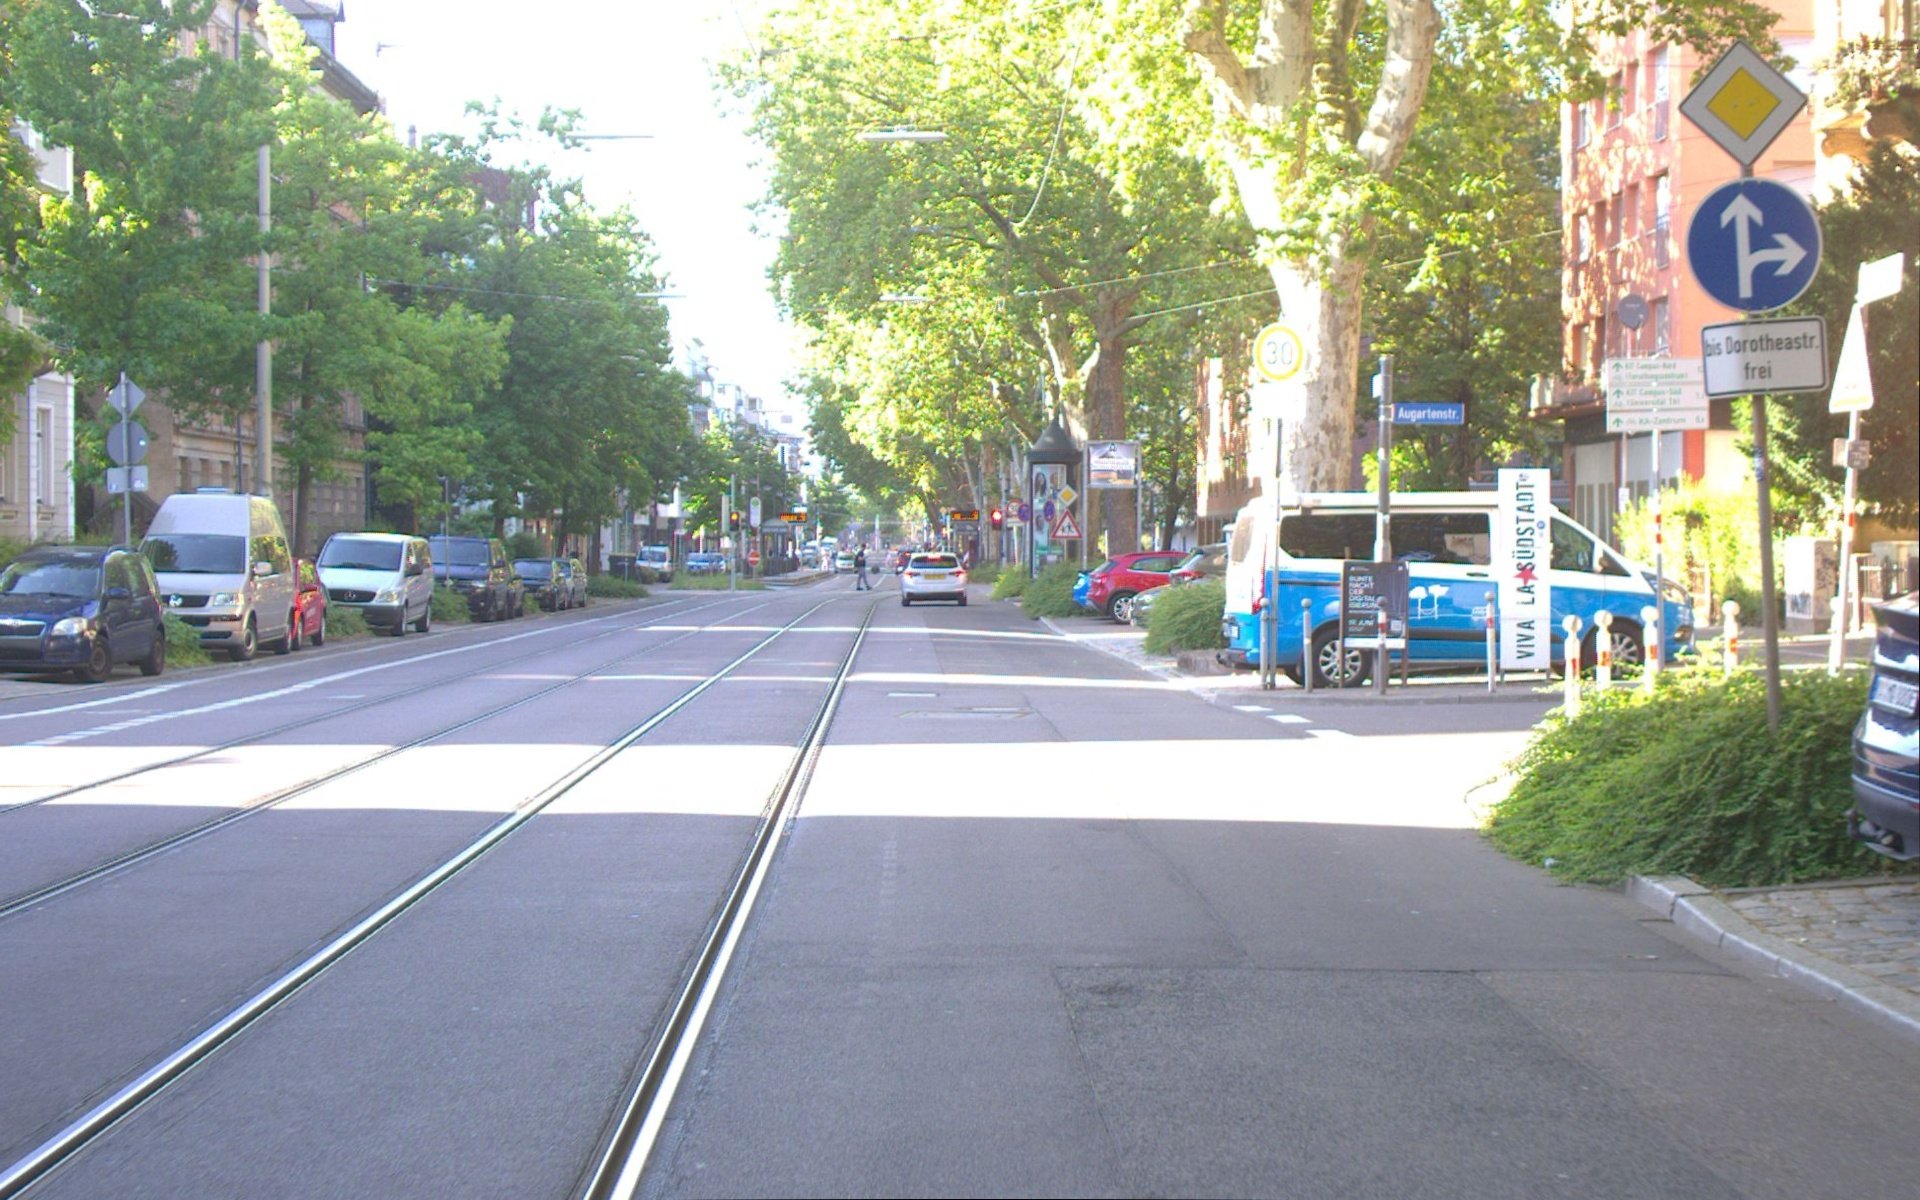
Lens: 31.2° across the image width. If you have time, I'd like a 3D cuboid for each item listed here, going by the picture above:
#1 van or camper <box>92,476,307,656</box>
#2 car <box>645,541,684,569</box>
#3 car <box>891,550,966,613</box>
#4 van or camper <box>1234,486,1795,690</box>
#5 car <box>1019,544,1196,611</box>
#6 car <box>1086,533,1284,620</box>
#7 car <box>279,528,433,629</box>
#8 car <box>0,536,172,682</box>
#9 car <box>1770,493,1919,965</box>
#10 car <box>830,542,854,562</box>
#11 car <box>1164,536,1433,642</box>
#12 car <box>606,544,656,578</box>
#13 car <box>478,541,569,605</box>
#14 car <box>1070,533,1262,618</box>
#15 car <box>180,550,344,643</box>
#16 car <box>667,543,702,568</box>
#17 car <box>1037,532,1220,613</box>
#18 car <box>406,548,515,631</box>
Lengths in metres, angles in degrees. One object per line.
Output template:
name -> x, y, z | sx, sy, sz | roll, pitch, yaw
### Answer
van or camper -> -11.183, -0.527, 50.953 | 2.079, 2.524, 5.318 | 0, 1, -1
car -> -15.167, -2.343, 176.550 | 1.918, 1.414, 3.591 | 0, 1, -3
car -> -0.865, -0.519, 91.530 | 1.918, 1.579, 3.791 | -1, 1, -1
van or camper -> 5.887, -0.164, 36.942 | 5.554, 2.006, 2.245 | -1, 4, -5
car -> 3.395, -0.535, 79.508 | 3.987, 1.515, 2.000 | 0, 1, 0
car -> 4.664, -0.496, 71.665 | 3.987, 1.778, 2.000 | 0, 1, 0
car -> -11.484, -0.436, 65.632 | 2.173, 1.854, 4.659 | 0, 1, -1
car -> -10.910, 0.066, 41.670 | 1.786, 1.581, 4.344 | 3, 1, -2
car -> 5.305, 0.433, 13.117 | 3.923, 1.664, 1.961 | 0, 1, -2
car -> -8.578, -3.490, 250.341 | 1.635, 1.414, 3.591 | 0, 1, -3
car -> 5.240, -0.181, 53.592 | 3.987, 1.603, 2.000 | 0, 1, 0
car -> -13.770, -1.646, 144.170 | 1.918, 1.414, 3.721 | 0, 1, -3
car -> -12.152, -0.768, 95.968 | 1.993, 1.739, 4.659 | 0, 1, -1
car -> 4.403, -0.529, 73.946 | 3.987, 1.778, 2.000 | 0, 1, 0
car -> -11.384, -0.083, 56.324 | 1.876, 1.455, 4.207 | 0, 1, -1
car -> -15.873, -2.564, 198.142 | 1.918, 1.414, 3.591 | 0, 1, -3
car -> 3.748, -0.618, 77.203 | 3.987, 1.778, 2.000 | 0, 1, 0
car -> -11.594, -0.264, 80.051 | 1.993, 1.854, 4.179 | 0, 1, -1
